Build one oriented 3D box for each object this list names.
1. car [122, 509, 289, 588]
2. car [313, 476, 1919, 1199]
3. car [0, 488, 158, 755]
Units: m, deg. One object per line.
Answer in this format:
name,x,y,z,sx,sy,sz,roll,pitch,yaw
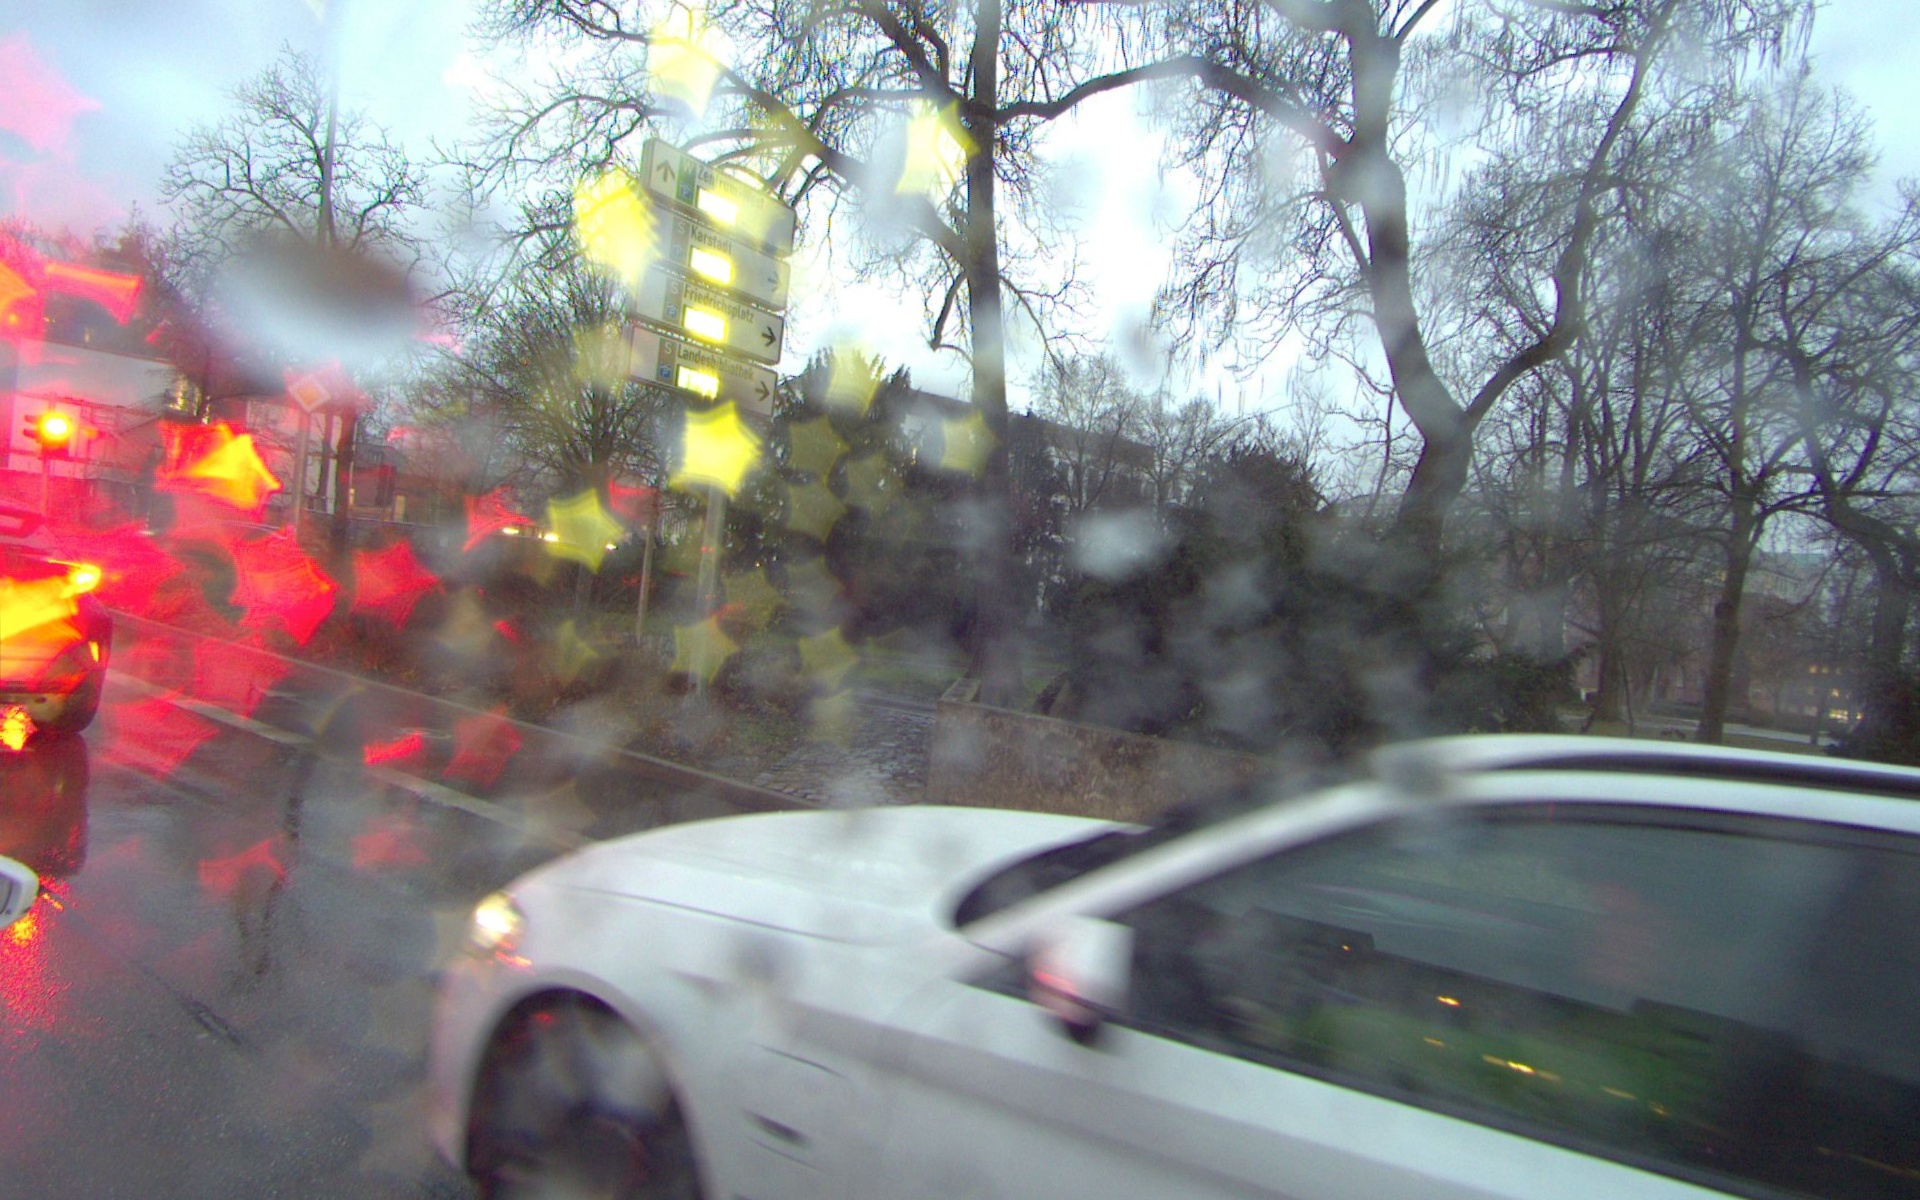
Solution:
car,-25.679,-1.734,34.319,4.259,1.965,1.977,10,-3,-42
car,1.028,0.799,1.976,4.856,1.575,1.865,7,0,32
car,-7.195,-0.073,6.571,3.831,1.529,1.802,7,0,32
